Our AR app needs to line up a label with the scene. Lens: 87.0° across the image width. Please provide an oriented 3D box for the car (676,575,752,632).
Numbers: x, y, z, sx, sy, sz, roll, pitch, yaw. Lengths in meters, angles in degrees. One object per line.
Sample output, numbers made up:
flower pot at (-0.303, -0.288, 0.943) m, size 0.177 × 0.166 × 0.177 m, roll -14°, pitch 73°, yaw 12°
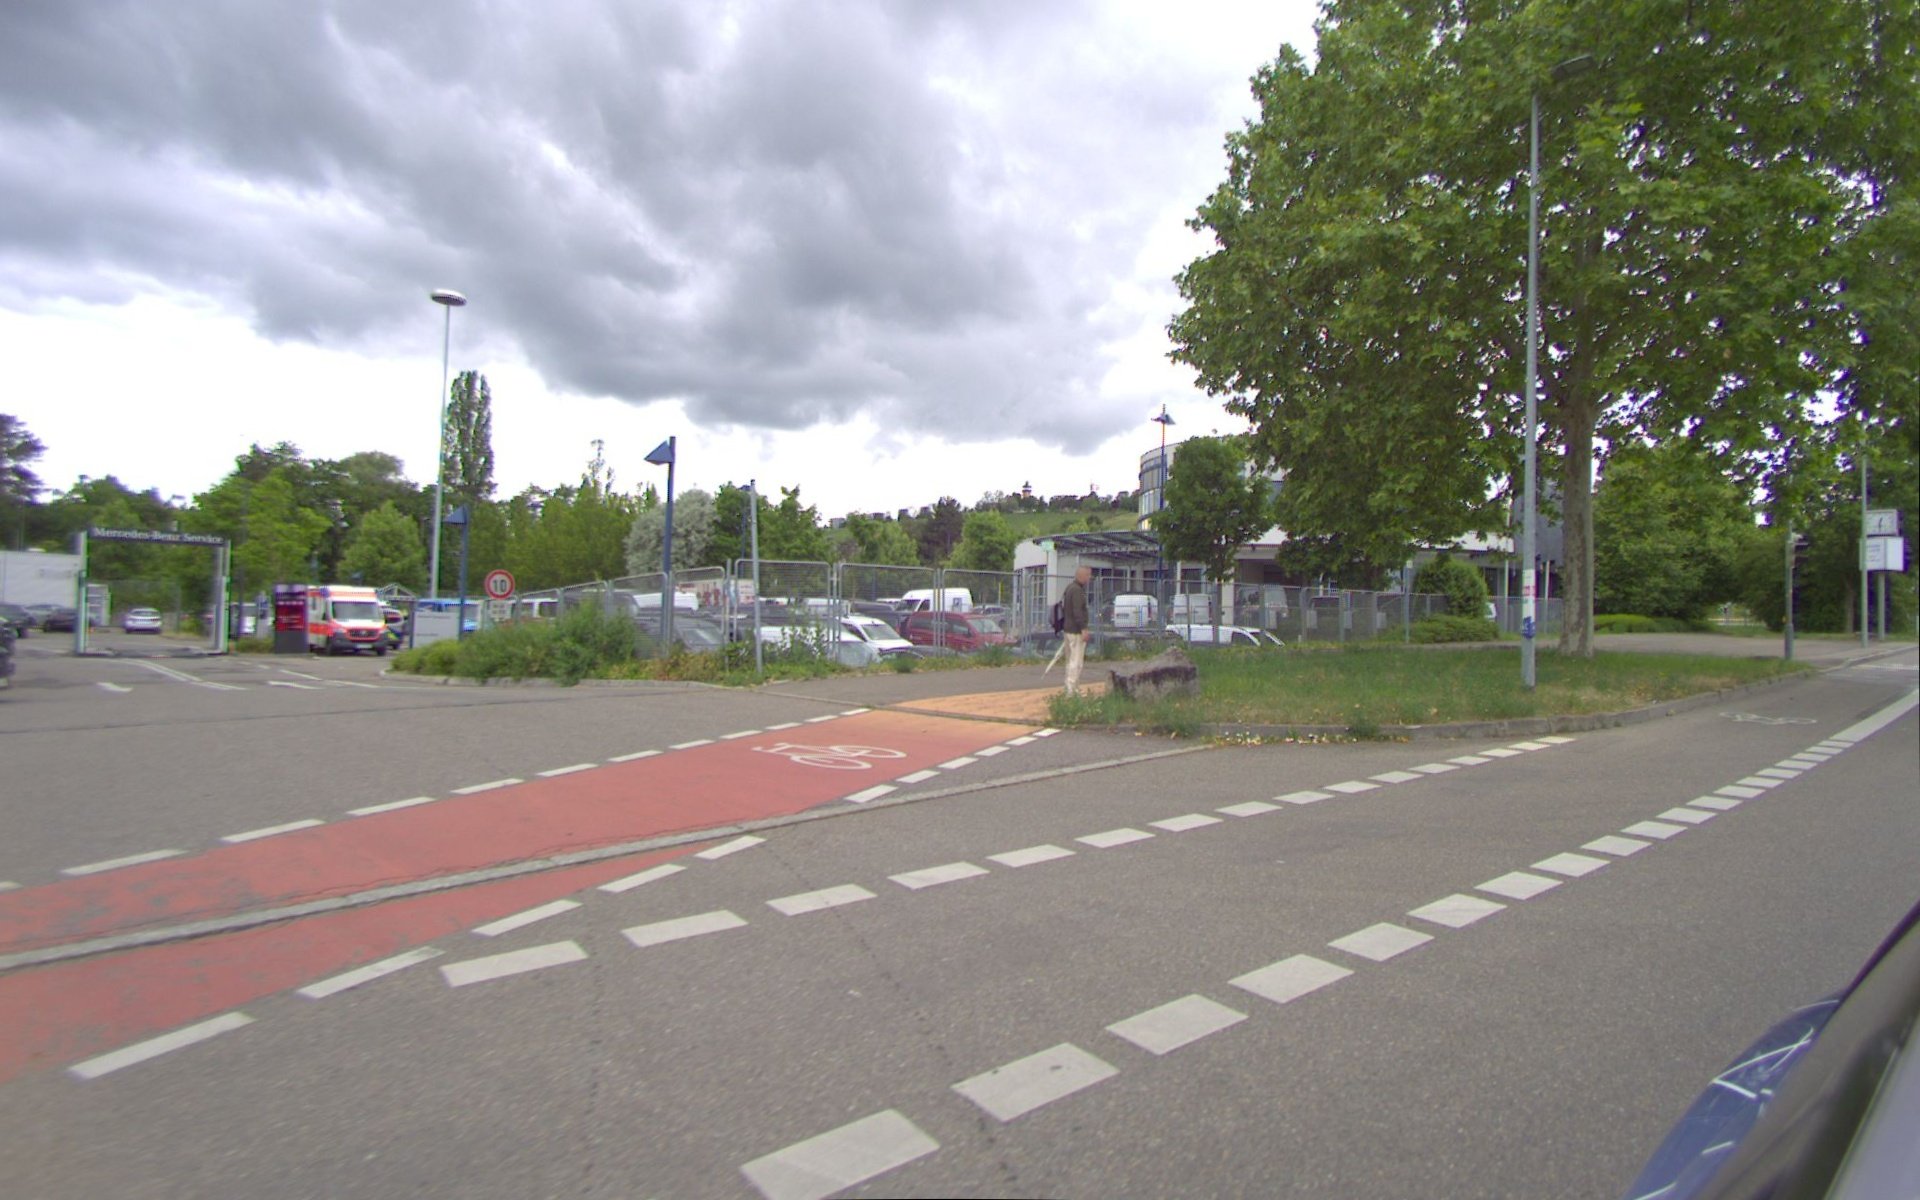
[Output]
car at (-14.446, 0.182, 59.294) m, size 4.506 × 3.239 × 2.186 m, roll 1°, pitch -1°, yaw 44°

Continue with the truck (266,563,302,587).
truck at (-59.034, -2.167, 88.321) m, size 1.967 × 2.039 × 3.991 m, roll 0°, pitch 0°, yaw -43°

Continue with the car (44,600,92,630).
car at (-51.659, 0.874, 58.615) m, size 1.965 × 1.639 × 3.993 m, roll 3°, pitch -2°, yaw -41°

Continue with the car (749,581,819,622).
car at (-12.723, 0.134, 73.231) m, size 4.405 × 2.791 × 2.218 m, roll 2°, pitch -1°, yaw -42°

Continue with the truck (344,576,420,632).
truck at (-35.192, 0.177, 61.535) m, size 2.695 × 3.209 × 6.355 m, roll 0°, pitch 1°, yaw -43°

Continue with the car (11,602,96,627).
car at (-58.268, 0.945, 65.137) m, size 3.930 × 1.505 × 1.996 m, roll 3°, pitch -3°, yaw -42°

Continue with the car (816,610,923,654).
car at (-3.217, 1.153, 35.498) m, size 1.786 × 1.467 × 3.992 m, roll 2°, pitch -3°, yaw -41°

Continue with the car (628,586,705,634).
car at (-16.539, 0.560, 56.896) m, size 4.469 × 2.555 × 2.186 m, roll 1°, pitch -1°, yaw 44°

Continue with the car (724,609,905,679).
car at (-3.149, 0.956, 21.374) m, size 1.965 × 1.335 × 3.992 m, roll 2°, pitch -4°, yaw -41°

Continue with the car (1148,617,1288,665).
car at (8.512, 1.364, 33.568) m, size 4.177 × 1.467 × 1.789 m, roll -3°, pitch -4°, yaw 45°

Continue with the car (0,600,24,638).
car at (-43.174, 0.791, 44.897) m, size 3.983 × 1.639 × 1.970 m, roll 0°, pitch -3°, yaw 41°

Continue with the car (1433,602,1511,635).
car at (24.362, 0.906, 48.306) m, size 1.786 × 1.467 × 4.184 m, roll 0°, pitch -2°, yaw 4°

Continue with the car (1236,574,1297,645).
car at (12.966, 0.397, 43.046) m, size 2.084 × 2.831 × 4.465 m, roll 2°, pitch 0°, yaw 13°

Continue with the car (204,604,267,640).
car at (-36.132, 1.077, 50.433) m, size 1.966 × 1.638 × 3.990 m, roll 4°, pitch -1°, yaw -44°

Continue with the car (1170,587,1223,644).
car at (10.278, 0.666, 43.999) m, size 2.084 × 2.304 × 4.465 m, roll 2°, pitch 0°, yaw 13°

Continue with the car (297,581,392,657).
car at (-24.732, 0.673, 40.522) m, size 2.182 × 2.791 × 6.318 m, roll 2°, pitch -1°, yaw -41°

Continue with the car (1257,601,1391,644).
car at (13.008, 0.849, 36.335) m, size 4.177 × 1.467 × 1.789 m, roll -3°, pitch -4°, yaw 45°

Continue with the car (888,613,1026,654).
car at (-0.203, 1.334, 39.193) m, size 5.792 × 1.467 × 1.789 m, roll -3°, pitch -4°, yaw 45°

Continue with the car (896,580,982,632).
car at (-1.171, 0.360, 57.066) m, size 4.405 × 2.791 × 2.218 m, roll 2°, pitch -1°, yaw -42°

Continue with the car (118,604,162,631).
car at (-50.879, 1.058, 62.750) m, size 1.965 × 1.516 × 3.993 m, roll -1°, pitch 1°, yaw -41°

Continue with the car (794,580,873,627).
car at (-7.858, 0.253, 63.061) m, size 4.405 × 2.791 × 2.218 m, roll 2°, pitch -1°, yaw -42°

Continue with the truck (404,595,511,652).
truck at (-21.527, 0.976, 43.242) m, size 2.695 × 2.271 × 5.433 m, roll 0°, pitch -1°, yaw -43°

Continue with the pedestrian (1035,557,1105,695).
pedestrian at (1.440, 0.318, 13.305) m, size 0.731 × 1.748 × 0.494 m, roll 3°, pitch 2°, yaw 42°

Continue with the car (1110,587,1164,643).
car at (7.978, 0.665, 45.334) m, size 2.084 × 2.304 × 4.465 m, roll 2°, pitch 0°, yaw 13°

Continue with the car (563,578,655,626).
car at (-22.430, 0.106, 64.828) m, size 5.208 × 2.958 × 1.997 m, roll -1°, pitch 0°, yaw -41°

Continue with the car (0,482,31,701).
car at (-15.295, -0.199, 11.627) m, size 1.993 × 2.855 × 6.616 m, roll -3°, pitch -4°, yaw 44°
